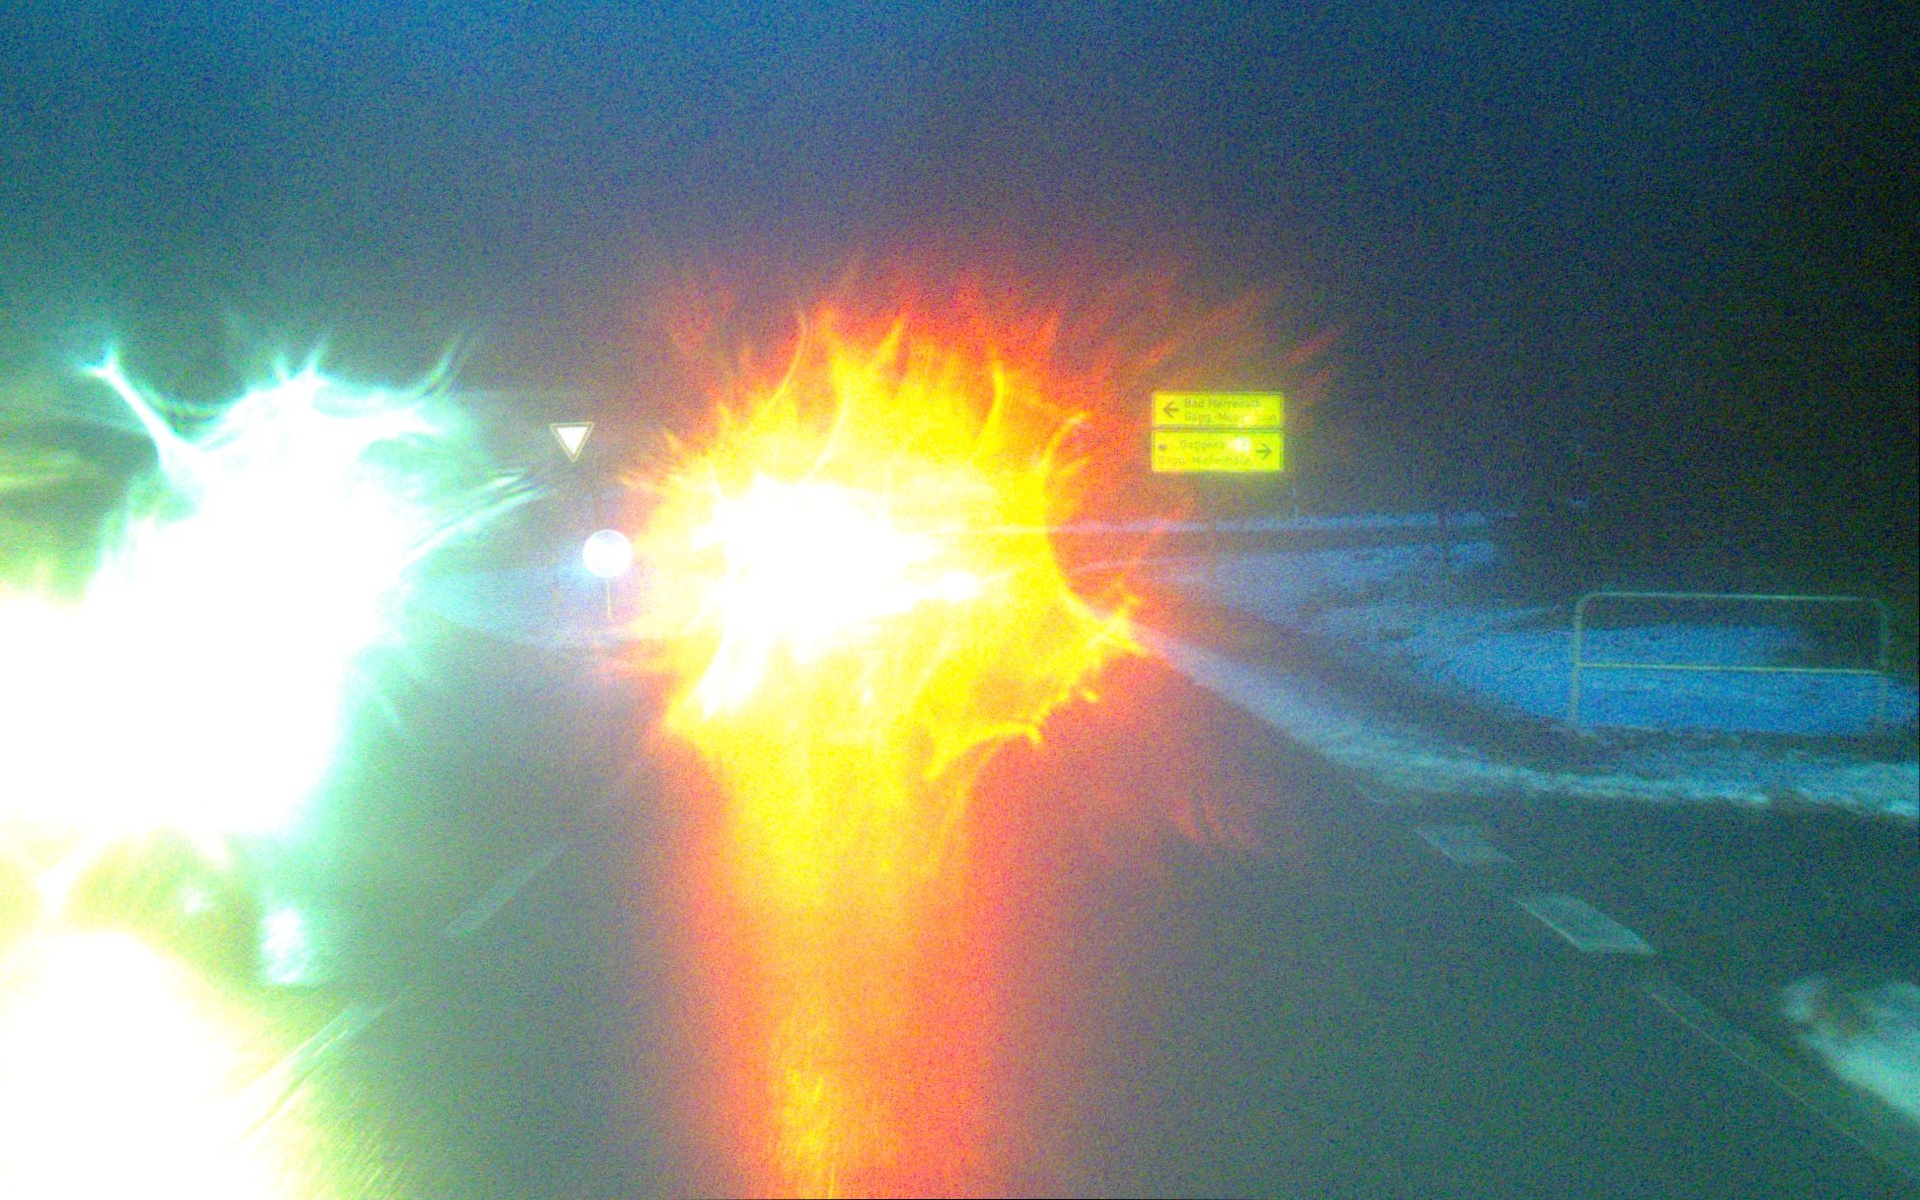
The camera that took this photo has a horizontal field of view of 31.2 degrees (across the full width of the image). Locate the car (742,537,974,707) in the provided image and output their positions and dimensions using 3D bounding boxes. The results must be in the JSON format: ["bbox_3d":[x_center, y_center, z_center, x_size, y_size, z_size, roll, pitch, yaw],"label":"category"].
[{"bbox_3d":[-0.971,0.144,30.592,1.921,1.272,4.001,-1,3,-4],"label":"car"}]

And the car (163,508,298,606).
[{"bbox_3d":[-12.411,-0.758,58.679,1.741,1.481,4.006,-3,2,-6],"label":"car"}]

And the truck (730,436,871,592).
[{"bbox_3d":[-2.983,-1.587,63.265,2.075,2.736,5.321,-1,2,-8],"label":"truck"}]

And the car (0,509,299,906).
[{"bbox_3d":[-4.484,0.422,17.009,1.751,1.687,4.427,-2,2,-3],"label":"car"}]
